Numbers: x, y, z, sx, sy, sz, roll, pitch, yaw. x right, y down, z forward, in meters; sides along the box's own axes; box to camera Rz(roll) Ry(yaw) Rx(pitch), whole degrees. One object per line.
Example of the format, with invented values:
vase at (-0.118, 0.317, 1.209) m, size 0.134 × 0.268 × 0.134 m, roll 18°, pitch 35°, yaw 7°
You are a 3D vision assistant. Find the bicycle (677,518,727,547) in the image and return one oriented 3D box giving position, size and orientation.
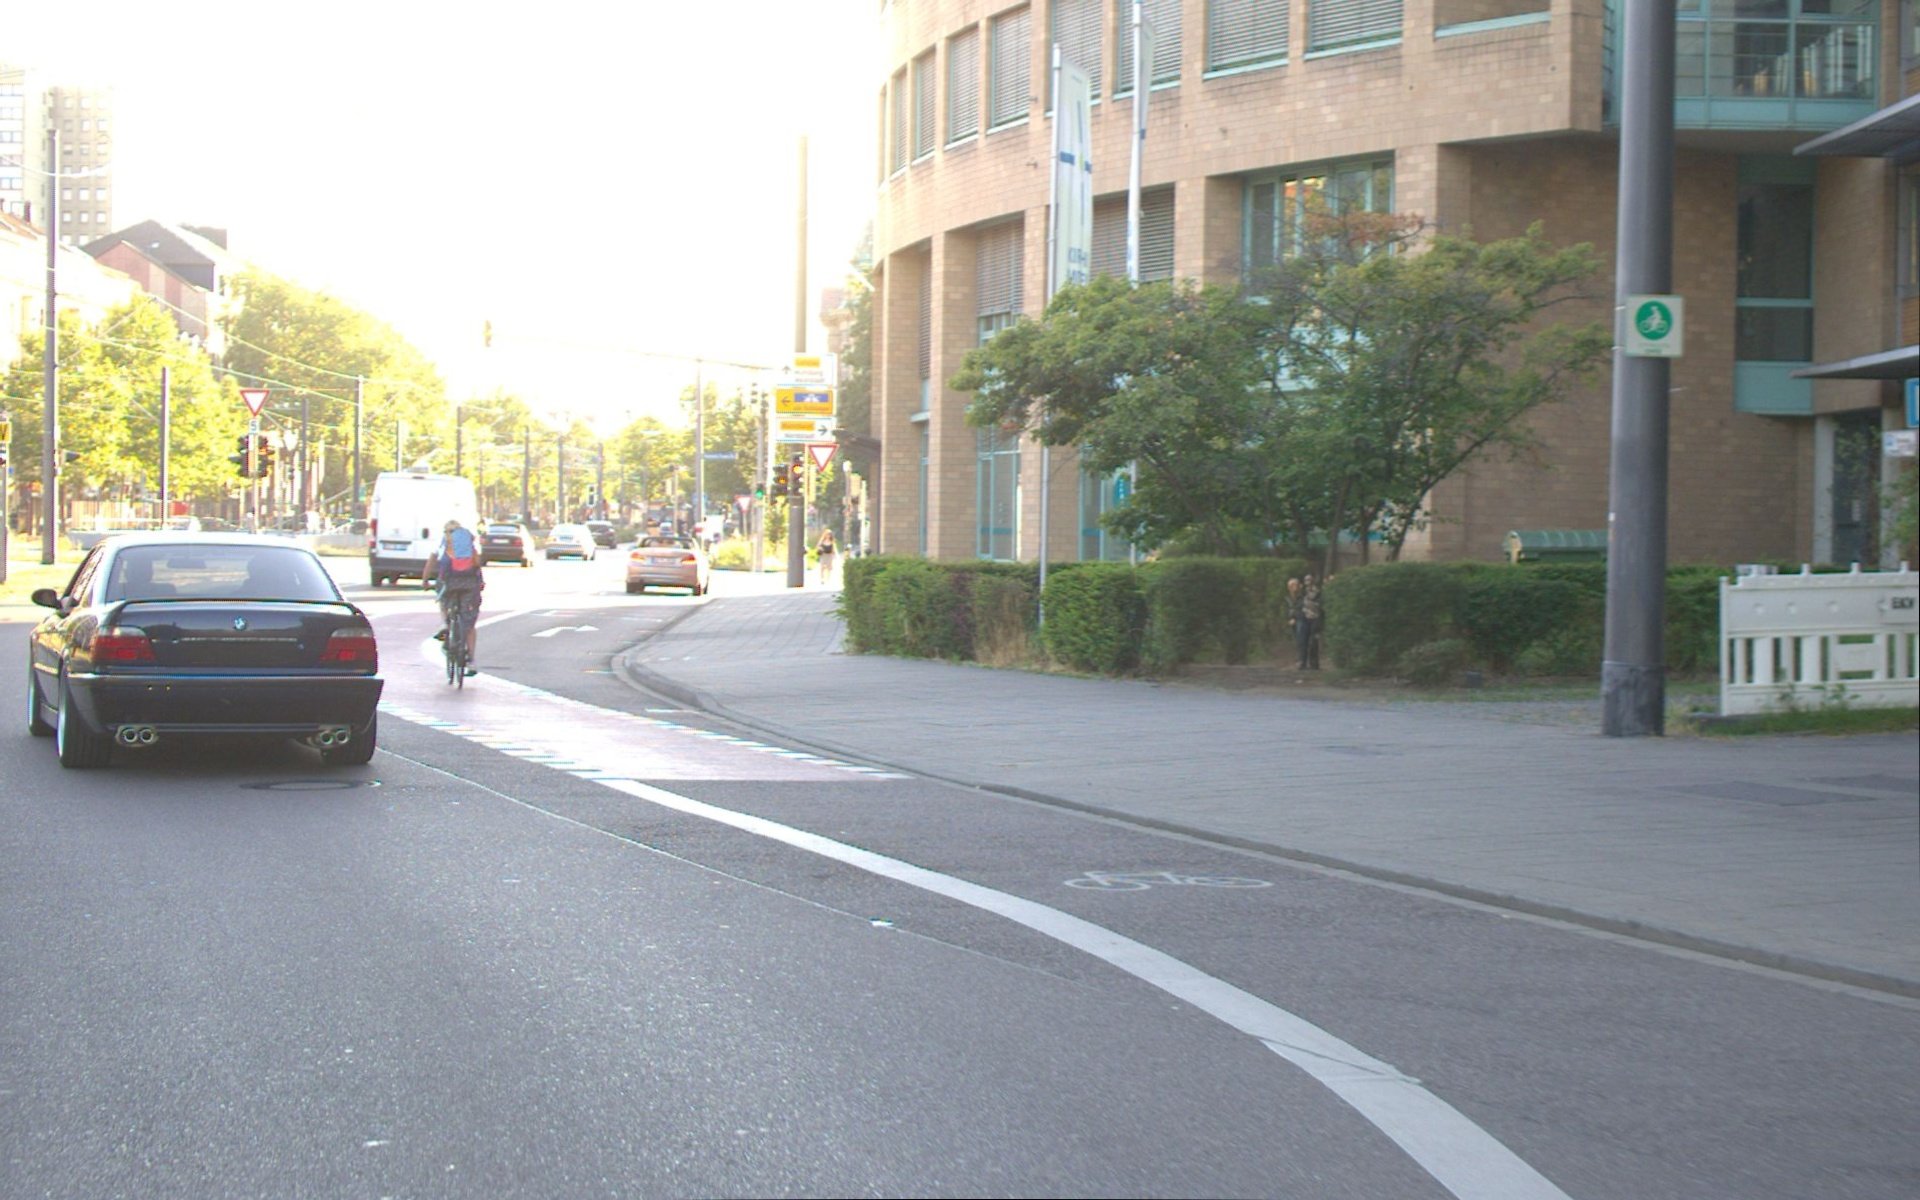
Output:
bicycle at (-9.082, -2.362, 120.844) m, size 1.728 × 0.966 × 0.609 m, roll 1°, pitch 2°, yaw -5°

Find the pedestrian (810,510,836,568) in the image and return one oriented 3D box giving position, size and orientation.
pedestrian at (-3.790, -1.695, 95.340) m, size 0.677 × 1.564 × 0.800 m, roll 1°, pitch 2°, yaw -4°

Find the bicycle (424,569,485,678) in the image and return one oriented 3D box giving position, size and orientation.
bicycle at (-4.827, 0.210, 32.850) m, size 0.515 × 0.951 × 1.776 m, roll 2°, pitch 2°, yaw -8°

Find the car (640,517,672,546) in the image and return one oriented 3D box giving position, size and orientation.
car at (-17.323, -3.916, 195.877) m, size 1.794 × 1.560 × 4.001 m, roll 1°, pitch 2°, yaw -5°

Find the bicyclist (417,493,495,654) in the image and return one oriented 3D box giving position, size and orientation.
bicyclist at (-4.792, -0.261, 32.706) m, size 0.655 × 1.478 × 1.038 m, roll 3°, pitch 1°, yaw -9°

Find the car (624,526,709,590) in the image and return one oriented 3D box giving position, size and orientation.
car at (-6.904, -1.010, 81.218) m, size 1.783 × 1.349 × 4.267 m, roll 2°, pitch 2°, yaw -2°

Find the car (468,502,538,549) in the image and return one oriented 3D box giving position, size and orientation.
car at (-14.588, -2.394, 109.912) m, size 1.737 × 1.381 × 4.001 m, roll 1°, pitch 2°, yaw -1°

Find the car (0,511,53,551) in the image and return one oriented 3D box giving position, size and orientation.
car at (-37.622, -2.727, 134.326) m, size 3.986 × 1.429 × 1.719 m, roll 1°, pitch 3°, yaw -23°

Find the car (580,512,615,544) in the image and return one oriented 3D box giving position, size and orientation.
car at (-19.409, -3.864, 184.193) m, size 1.794 × 1.560 × 4.001 m, roll 1°, pitch 2°, yaw -5°

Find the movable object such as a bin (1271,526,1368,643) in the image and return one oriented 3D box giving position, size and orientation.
movable object such as a bin at (4.602, -0.215, 43.971) m, size 0.972 × 1.432 × 1.344 m, roll 1°, pitch 2°, yaw 17°

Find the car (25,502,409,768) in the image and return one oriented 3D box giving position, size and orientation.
car at (-4.786, 0.150, 21.642) m, size 1.829 × 1.349 × 4.643 m, roll 1°, pitch 3°, yaw -19°

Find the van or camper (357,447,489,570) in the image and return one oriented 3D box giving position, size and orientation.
van or camper at (-11.833, -2.063, 76.084) m, size 2.263 × 2.616 × 4.503 m, roll 1°, pitch 2°, yaw -1°

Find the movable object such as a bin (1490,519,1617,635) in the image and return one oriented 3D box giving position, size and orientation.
movable object such as a bin at (7.532, -0.298, 43.653) m, size 1.340 × 1.419 × 0.924 m, roll 0°, pitch 2°, yaw -9°

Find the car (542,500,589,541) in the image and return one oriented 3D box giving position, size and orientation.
car at (-15.967, -3.242, 139.188) m, size 1.794 × 1.560 × 4.001 m, roll 1°, pitch 2°, yaw -5°

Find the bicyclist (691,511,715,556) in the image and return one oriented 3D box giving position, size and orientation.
bicyclist at (-9.038, -2.339, 120.843) m, size 0.797 × 1.566 × 0.663 m, roll 1°, pitch 2°, yaw -5°

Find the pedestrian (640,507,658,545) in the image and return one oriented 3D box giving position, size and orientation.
pedestrian at (-12.251, -2.910, 135.454) m, size 0.616 × 1.470 × 0.800 m, roll 1°, pitch 2°, yaw 3°
